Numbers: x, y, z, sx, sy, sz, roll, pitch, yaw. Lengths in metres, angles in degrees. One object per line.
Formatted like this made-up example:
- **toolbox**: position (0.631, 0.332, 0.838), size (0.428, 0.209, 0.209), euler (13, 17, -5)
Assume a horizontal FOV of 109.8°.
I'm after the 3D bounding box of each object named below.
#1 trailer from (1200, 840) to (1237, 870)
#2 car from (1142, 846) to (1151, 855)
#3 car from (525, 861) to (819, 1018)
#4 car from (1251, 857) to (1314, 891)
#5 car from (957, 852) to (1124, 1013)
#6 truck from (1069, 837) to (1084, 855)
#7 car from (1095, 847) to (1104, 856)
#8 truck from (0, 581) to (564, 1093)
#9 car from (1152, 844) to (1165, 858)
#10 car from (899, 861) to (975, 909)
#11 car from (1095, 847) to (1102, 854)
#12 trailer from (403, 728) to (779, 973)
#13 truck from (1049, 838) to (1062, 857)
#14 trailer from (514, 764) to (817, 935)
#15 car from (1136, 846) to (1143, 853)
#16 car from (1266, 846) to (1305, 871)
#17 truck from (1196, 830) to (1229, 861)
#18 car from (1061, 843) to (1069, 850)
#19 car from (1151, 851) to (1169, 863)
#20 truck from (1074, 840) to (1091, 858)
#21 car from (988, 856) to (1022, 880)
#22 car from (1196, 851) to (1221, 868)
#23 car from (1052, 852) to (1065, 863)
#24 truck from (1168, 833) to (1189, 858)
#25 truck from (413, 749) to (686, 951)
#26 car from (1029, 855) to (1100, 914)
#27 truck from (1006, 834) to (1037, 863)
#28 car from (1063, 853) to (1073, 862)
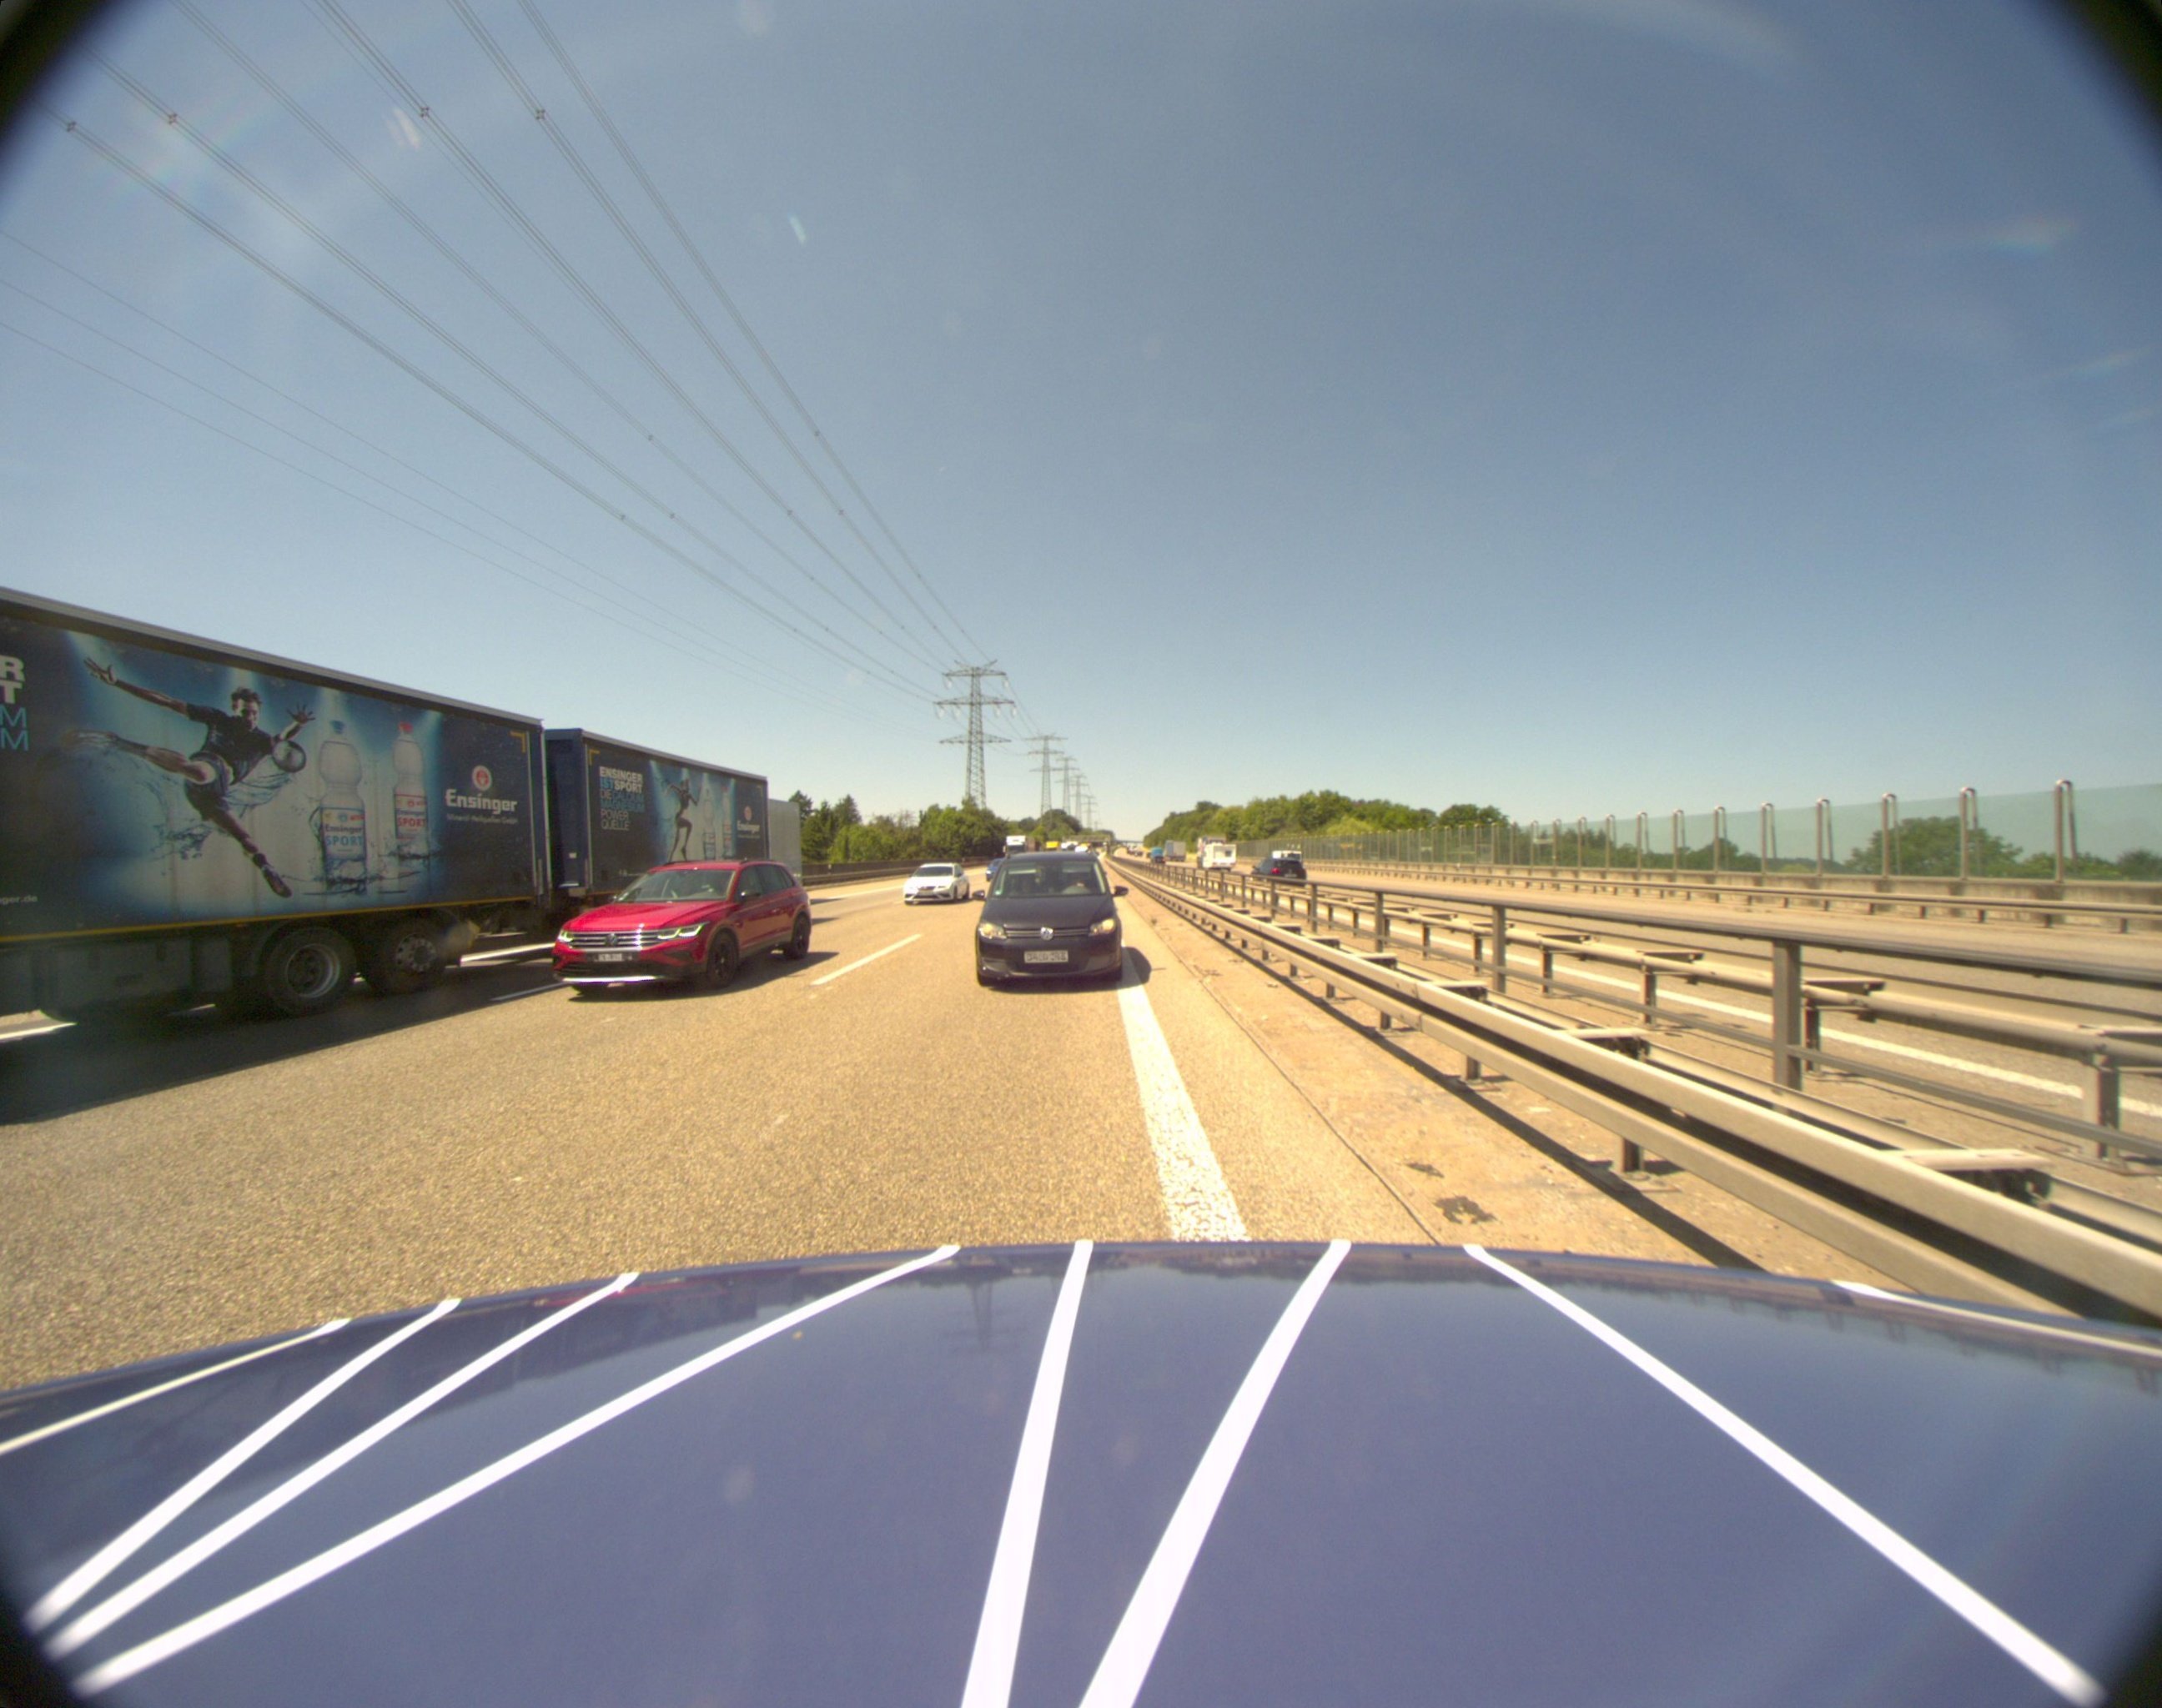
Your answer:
- **trailer**: position (12.875, 0.063, 71.454), size (2.322, 2.690, 6.360), euler (1, 0, 0)
- **car**: position (16.761, -0.868, 193.627), size (1.986, 2.058, 4.239), euler (1, 1, 0)
- **car**: position (-5.318, 0.980, 10.635), size (1.779, 1.652, 4.224), euler (-1, 0, 0)
- **car**: position (8.964, 0.837, 34.139), size (1.772, 1.411, 4.266), euler (0, 0, 0)
- **car**: position (-0.438, 0.840, 10.197), size (1.740, 1.652, 3.999), euler (-2, 1, 0)
- **truck**: position (-0.921, -1.838, 170.638), size (2.980, 3.832, 10.561), euler (-2, 1, 1)
- **car**: position (4.271, -0.673, 173.993), size (1.998, 2.002, 4.000), euler (-2, 1, 1)
- **truck**: position (-9.796, -0.115, 7.167), size (2.529, 4.043, 10.446), euler (-2, 0, 0)
- **car**: position (14.776, -0.532, 144.980), size (1.986, 2.576, 5.036), euler (1, 1, 0)
- **car**: position (-5.158, 1.057, 27.702), size (1.843, 1.481, 4.072), euler (-2, 0, 1)
- **car**: position (5.523, -1.140, 242.937), size (1.998, 2.002, 3.999), euler (-2, 1, 0)
- **trailer**: position (-9.706, -0.068, 16.696), size (2.572, 3.922, 8.479), euler (-2, 0, 0)
- **truck**: position (-5.614, -1.391, 169.279), size (2.346, 4.058, 8.278), euler (-2, 1, 1)
- **trailer**: position (-12.582, -0.140, 25.527), size (2.542, 4.095, 13.770), euler (-2, 0, 0)
- **car**: position (17.165, -1.261, 223.264), size (1.986, 2.058, 4.239), euler (1, 1, 0)
- **car**: position (17.272, 0.339, 64.438), size (2.039, 1.972, 4.489), euler (2, 0, 0)
- **truck**: position (17.889, -1.162, 103.723), size (2.876, 4.062, 9.988), euler (2, 1, 1)
- **car**: position (-4.388, -2.028, 210.323), size (1.998, 2.002, 4.000), euler (0, 0, 1)
- **car**: position (9.872, 0.357, 95.519), size (1.853, 1.386, 4.000), euler (2, 0, 0)
- **truck**: position (0.255, -0.670, 111.324), size (2.284, 2.479, 5.861), euler (-2, 1, 1)
- **car**: position (-5.091, 0.918, 51.240), size (1.739, 1.437, 4.210), euler (-1, 0, 2)
- **car**: position (12.864, 0.580, 76.804), size (1.806, 1.631, 4.268), euler (1, 0, 0)
- **car**: position (-3.227, 0.448, 109.866), size (1.763, 1.495, 4.094), euler (-1, 0, -1)
- **truck**: position (18.863, -1.662, 147.149), size (2.876, 4.514, 9.988), euler (2, 1, 1)
- **truck**: position (-12.510, -0.095, 18.634), size (2.523, 4.096, 5.715), euler (-2, 1, 0)
- **car**: position (-0.419, 0.801, 22.058), size (1.845, 1.495, 4.377), euler (-1, 0, 0)
- **truck**: position (-7.707, -0.765, 99.608), size (2.985, 3.538, 10.966), euler (-2, 1, 0)
- **car**: position (-2.271, 0.631, 135.153), size (1.763, 1.495, 4.094), euler (-1, 0, 0)
